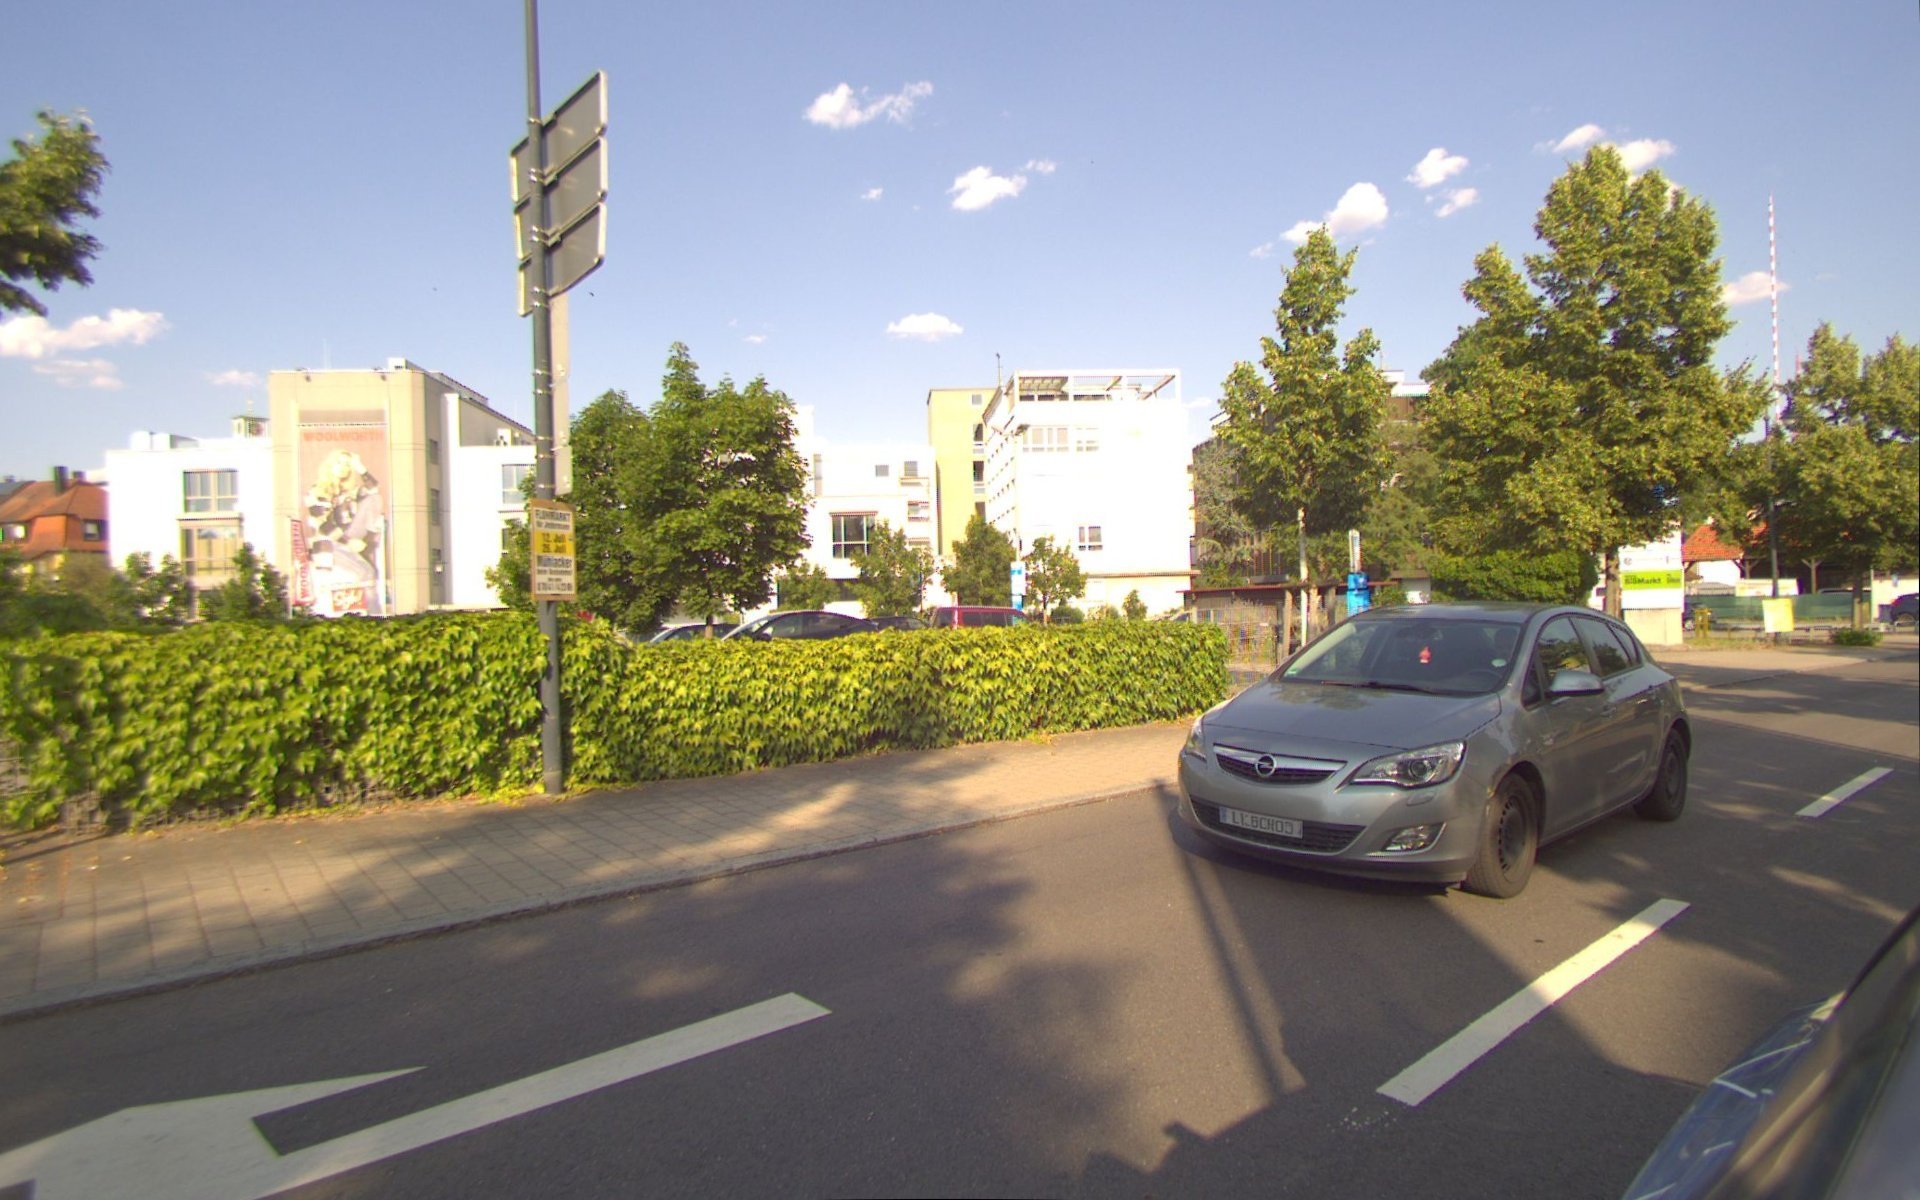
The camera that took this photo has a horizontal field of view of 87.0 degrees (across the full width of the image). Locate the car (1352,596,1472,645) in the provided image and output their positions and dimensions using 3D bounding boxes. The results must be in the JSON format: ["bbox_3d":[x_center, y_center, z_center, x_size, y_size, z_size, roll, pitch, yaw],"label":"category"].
[{"bbox_3d":[14.937,0.654,33.446,3.788,1.481,1.660,-1,-1,-29],"label":"car"}]

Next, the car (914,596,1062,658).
[{"bbox_3d":[0.944,0.839,33.231,4.559,1.878,2.000,-1,-1,-35],"label":"car"}]

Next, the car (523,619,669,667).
[{"bbox_3d":[-12.658,1.458,35.313,4.462,1.462,1.878,-1,-1,-36],"label":"car"}]

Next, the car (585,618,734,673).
[{"bbox_3d":[-9.032,1.311,30.462,3.878,1.462,1.999,-1,-1,-35],"label":"car"}]

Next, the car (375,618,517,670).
[{"bbox_3d":[-18.479,1.537,36.606,4.454,1.669,2.003,-1,-1,-25],"label":"car"}]

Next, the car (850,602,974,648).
[{"bbox_3d":[-1.850,0.946,39.563,4.461,1.669,2.000,-1,-1,-35],"label":"car"}]

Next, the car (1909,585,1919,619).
[{"bbox_3d":[42.745,0.047,42.473,1.899,1.438,3.841,-1,-1,-29],"label":"car"}]

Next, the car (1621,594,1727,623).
[{"bbox_3d":[36.379,0.441,51.668,1.899,1.438,4.003,-1,-1,-29],"label":"car"}]

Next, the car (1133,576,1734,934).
[{"bbox_3d":[3.137,0.658,6.286,4.228,1.509,1.725,0,0,-39],"label":"car"}]

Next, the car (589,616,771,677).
[{"bbox_3d":[-7.735,1.230,28.084,4.462,1.462,1.999,-1,-1,-36],"label":"car"}]

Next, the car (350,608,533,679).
[{"bbox_3d":[-13.872,1.138,27.173,4.229,1.746,1.896,0,-3,-30],"label":"car"}]

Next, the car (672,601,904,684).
[{"bbox_3d":[-3.624,0.873,21.637,4.462,1.551,1.999,-1,-3,-36],"label":"car"}]
